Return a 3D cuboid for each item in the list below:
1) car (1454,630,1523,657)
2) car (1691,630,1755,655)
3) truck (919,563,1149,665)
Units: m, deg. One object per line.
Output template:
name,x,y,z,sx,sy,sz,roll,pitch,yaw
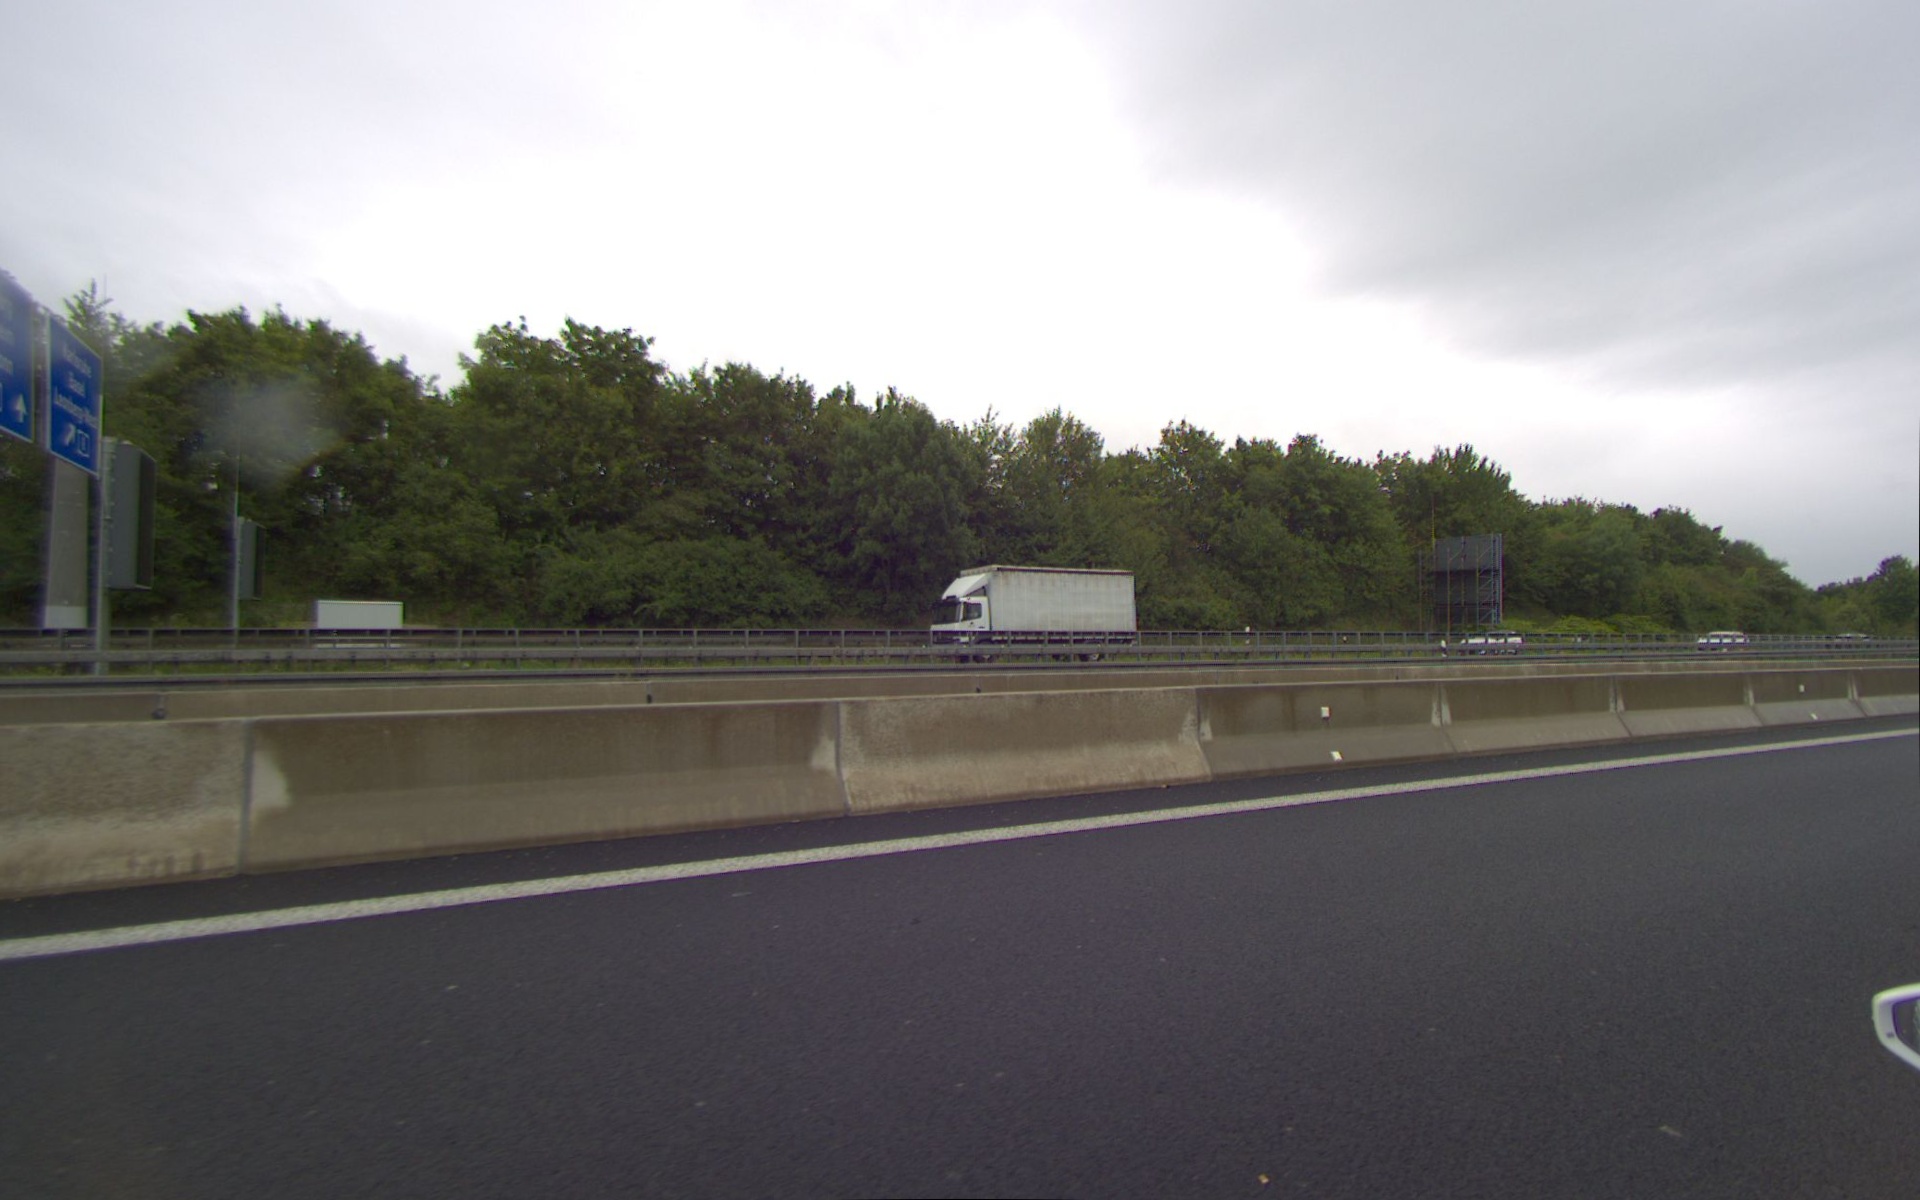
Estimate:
car,30.489,2.522,57.884,3.953,1.475,1.668,2,0,-30
car,47.465,2.658,62.447,4.582,1.475,1.666,2,0,-32
truck,3.237,0.659,42.359,9.520,3.930,3.060,2,0,-30
